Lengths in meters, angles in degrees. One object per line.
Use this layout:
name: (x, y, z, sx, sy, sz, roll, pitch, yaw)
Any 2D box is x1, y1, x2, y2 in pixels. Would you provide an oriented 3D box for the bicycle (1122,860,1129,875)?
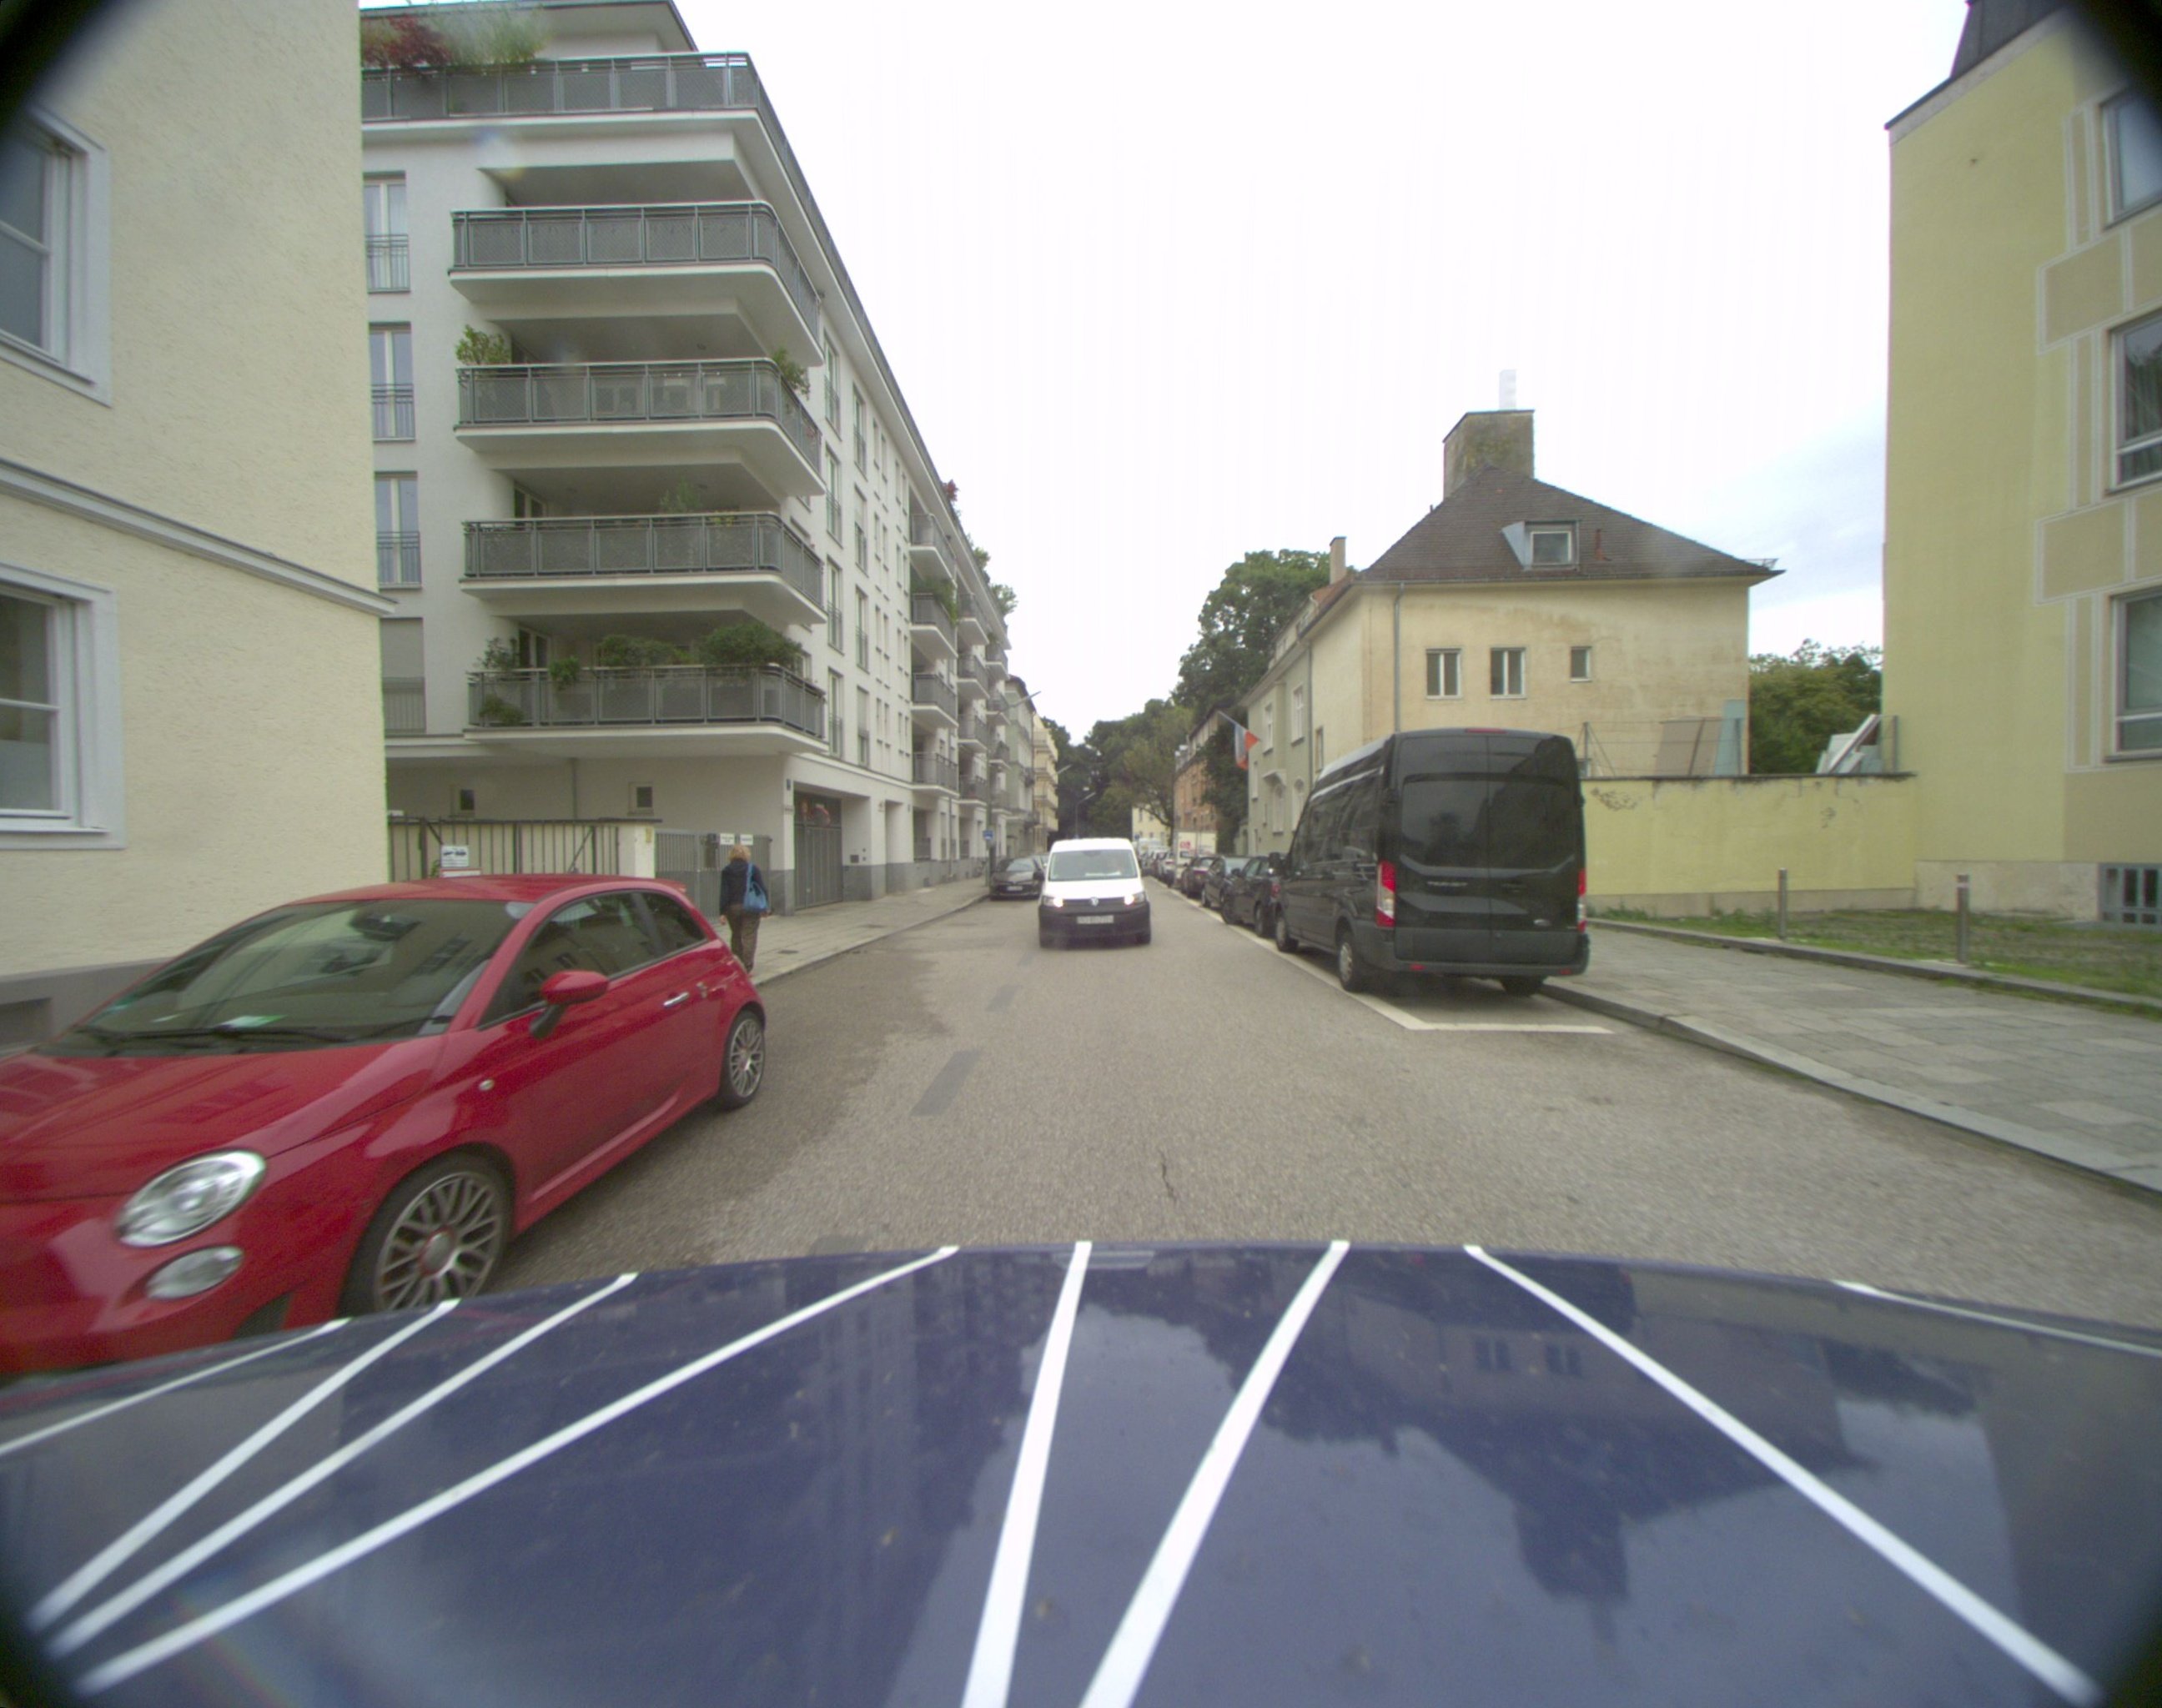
bicycle: (3.595, 1.072, 61.584, 0.505, 1.122, 1.773, 1, 1, 4)

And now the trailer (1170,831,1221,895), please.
trailer: (4.720, 0.322, 31.937, 1.713, 2.447, 4.387, 2, 1, 4)

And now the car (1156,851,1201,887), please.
car: (4.685, 0.673, 36.889, 1.691, 1.594, 3.921, 1, 1, 1)

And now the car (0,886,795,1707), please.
car: (-2.857, 1.007, 3.398, 1.599, 1.500, 3.800, 0, 1, 2)

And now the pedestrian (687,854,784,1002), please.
pedestrian: (-4.242, 0.887, 9.385, 0.796, 1.718, 0.672, -2, 3, -2)

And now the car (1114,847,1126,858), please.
car: (5.121, -0.219, 100.473, 1.585, 1.403, 3.612, 0, 2, 2)

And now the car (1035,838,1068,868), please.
car: (-1.613, -0.081, 42.687, 1.608, 1.522, 3.983, -3, 1, 0)

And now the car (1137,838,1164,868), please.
car: (5.847, -0.125, 64.573, 1.986, 2.464, 5.222, 1, 1, 2)

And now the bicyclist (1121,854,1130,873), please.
bicyclist: (3.607, 0.763, 61.697, 0.695, 1.553, 0.967, 1, 1, 4)

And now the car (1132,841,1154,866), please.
car: (6.524, -0.079, 80.502, 2.118, 2.525, 4.421, 2, 1, 2)

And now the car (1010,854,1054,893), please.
car: (-2.047, 0.831, 32.243, 1.523, 1.521, 3.527, -2, -1, 1)

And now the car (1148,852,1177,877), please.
car: (5.089, 0.622, 47.967, 1.477, 1.458, 3.313, 1, 1, 0)

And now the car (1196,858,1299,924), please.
car: (4.095, 0.851, 19.308, 1.705, 1.437, 3.824, -1, 0, -1)

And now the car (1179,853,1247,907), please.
car: (4.344, 0.788, 25.672, 1.770, 1.529, 4.541, 2, 1, 4)

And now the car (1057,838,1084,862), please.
car: (-0.833, -0.363, 64.288, 1.858, 1.885, 4.592, -3, 1, 3)

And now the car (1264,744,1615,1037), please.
car: (3.866, 0.314, 9.530, 2.093, 2.621, 5.377, 0, 1, 3)

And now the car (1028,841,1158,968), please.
car: (0.271, 0.702, 12.659, 1.775, 1.761, 4.001, -1, 0, 3)

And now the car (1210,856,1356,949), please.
car: (3.734, 0.829, 14.641, 1.590, 1.529, 3.541, -1, 0, -5)

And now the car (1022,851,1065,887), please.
car: (-1.762, 0.670, 37.048, 1.738, 1.522, 4.620, -3, 1, 0)

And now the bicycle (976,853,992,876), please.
bicycle: (-5.164, 0.547, 40.520, 0.629, 1.153, 2.127, 0, 1, -1)

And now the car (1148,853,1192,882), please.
car: (4.900, 0.710, 42.517, 1.865, 1.405, 4.332, 1, 2, -1)

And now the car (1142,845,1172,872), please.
car: (5.385, 0.312, 54.057, 1.694, 1.793, 4.144, 1, 1, 0)

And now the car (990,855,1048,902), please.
car: (-2.113, 0.823, 27.008, 1.768, 1.400, 4.077, -1, 2, -1)
